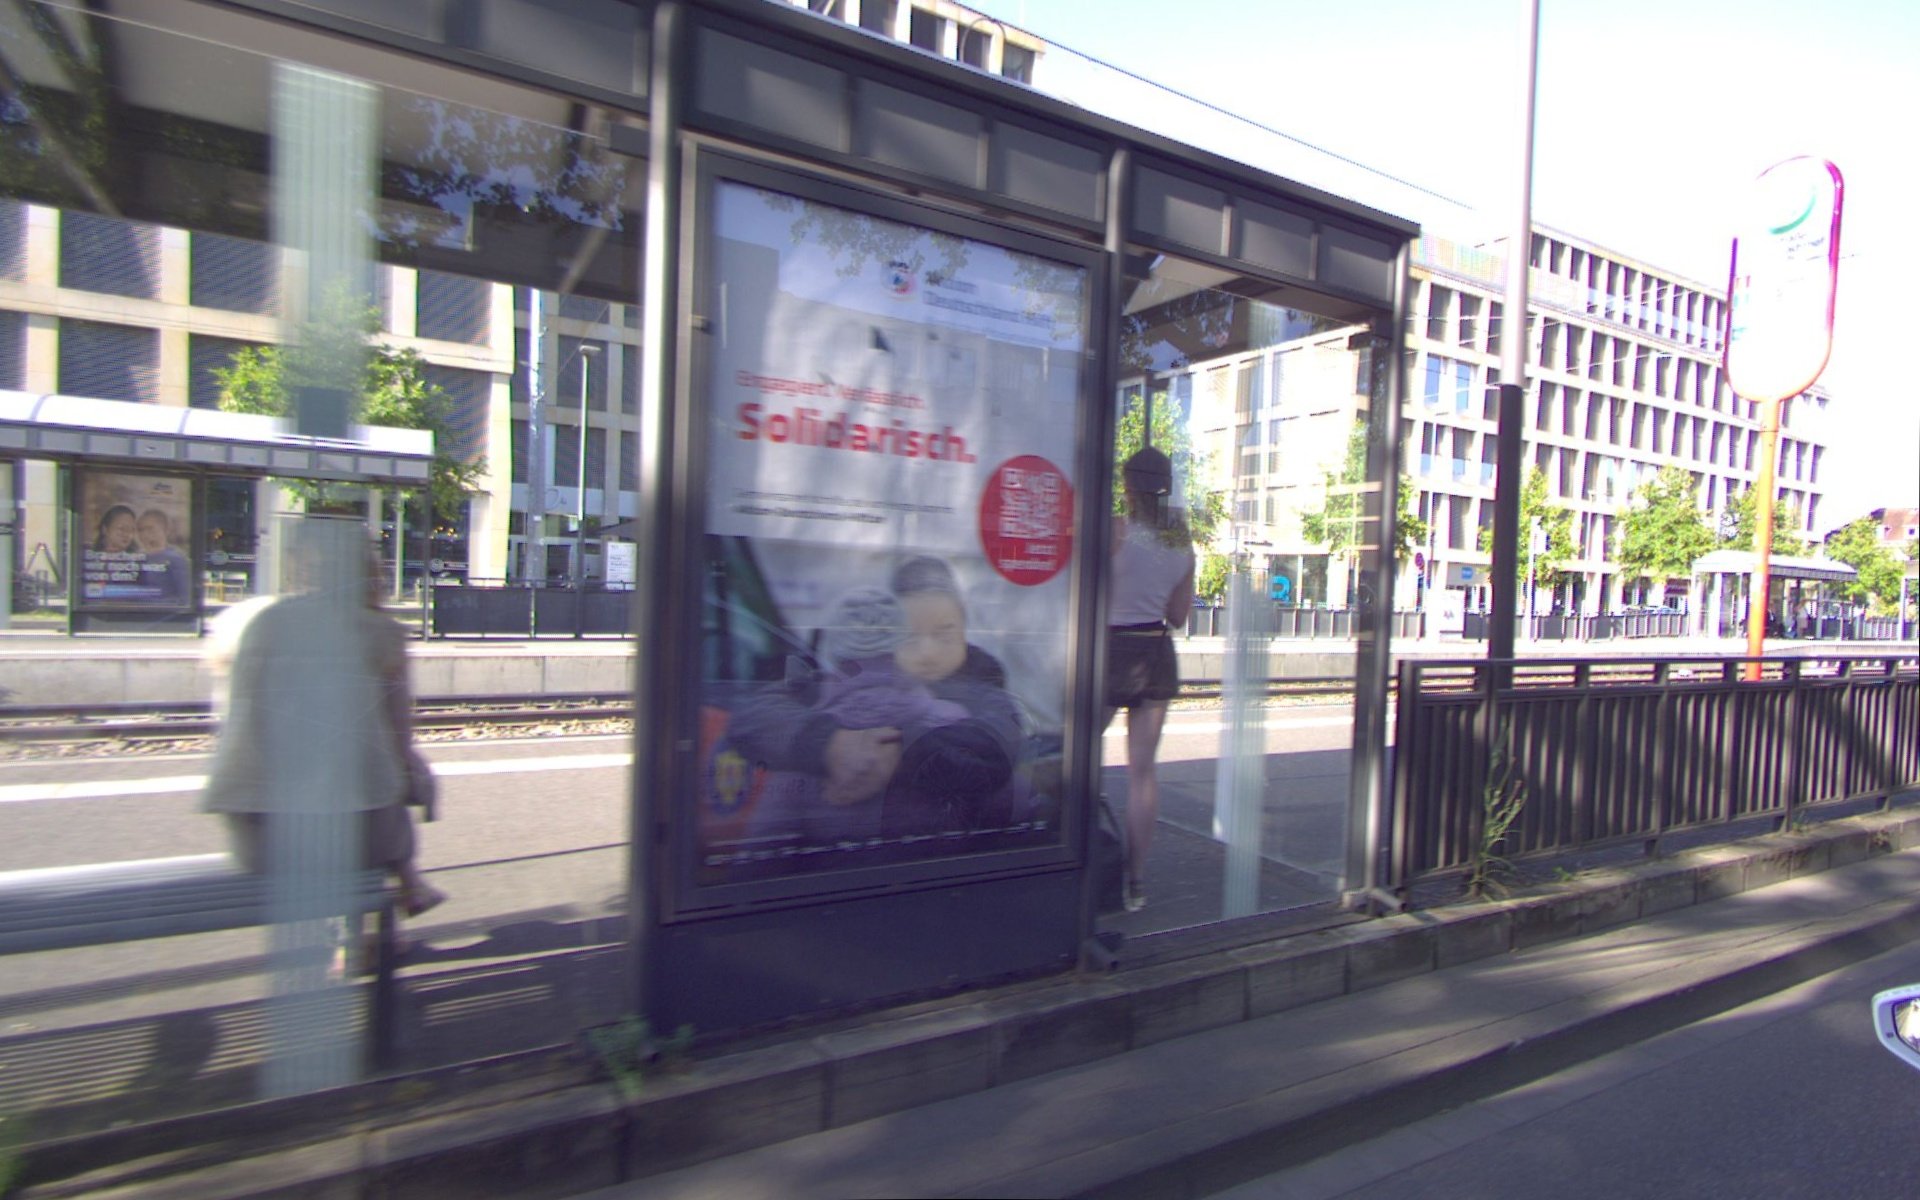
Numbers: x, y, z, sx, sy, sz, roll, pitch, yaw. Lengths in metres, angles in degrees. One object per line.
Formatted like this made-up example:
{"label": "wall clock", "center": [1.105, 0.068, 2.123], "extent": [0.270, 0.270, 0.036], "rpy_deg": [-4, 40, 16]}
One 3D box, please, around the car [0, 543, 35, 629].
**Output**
{"label": "car", "center": [-18.898, -0.313, 17.670], "extent": [3.557, 1.532, 1.637], "rpy_deg": [1, 1, -30]}

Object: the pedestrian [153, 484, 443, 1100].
{"label": "pedestrian", "center": [-1.630, 0.398, 2.545], "extent": [0.518, 1.291, 0.738], "rpy_deg": [1, 1, -30]}

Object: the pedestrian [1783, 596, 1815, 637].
{"label": "pedestrian", "center": [31.976, 0.627, 38.286], "extent": [0.714, 1.548, 0.613], "rpy_deg": [2, 2, -21]}

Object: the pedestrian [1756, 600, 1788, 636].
{"label": "pedestrian", "center": [29.827, 0.660, 36.892], "extent": [0.715, 1.277, 0.612], "rpy_deg": [2, 2, -26]}

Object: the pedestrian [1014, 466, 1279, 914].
{"label": "pedestrian", "center": [0.701, 0.309, 3.907], "extent": [0.657, 1.529, 0.743], "rpy_deg": [1, 1, -27]}
